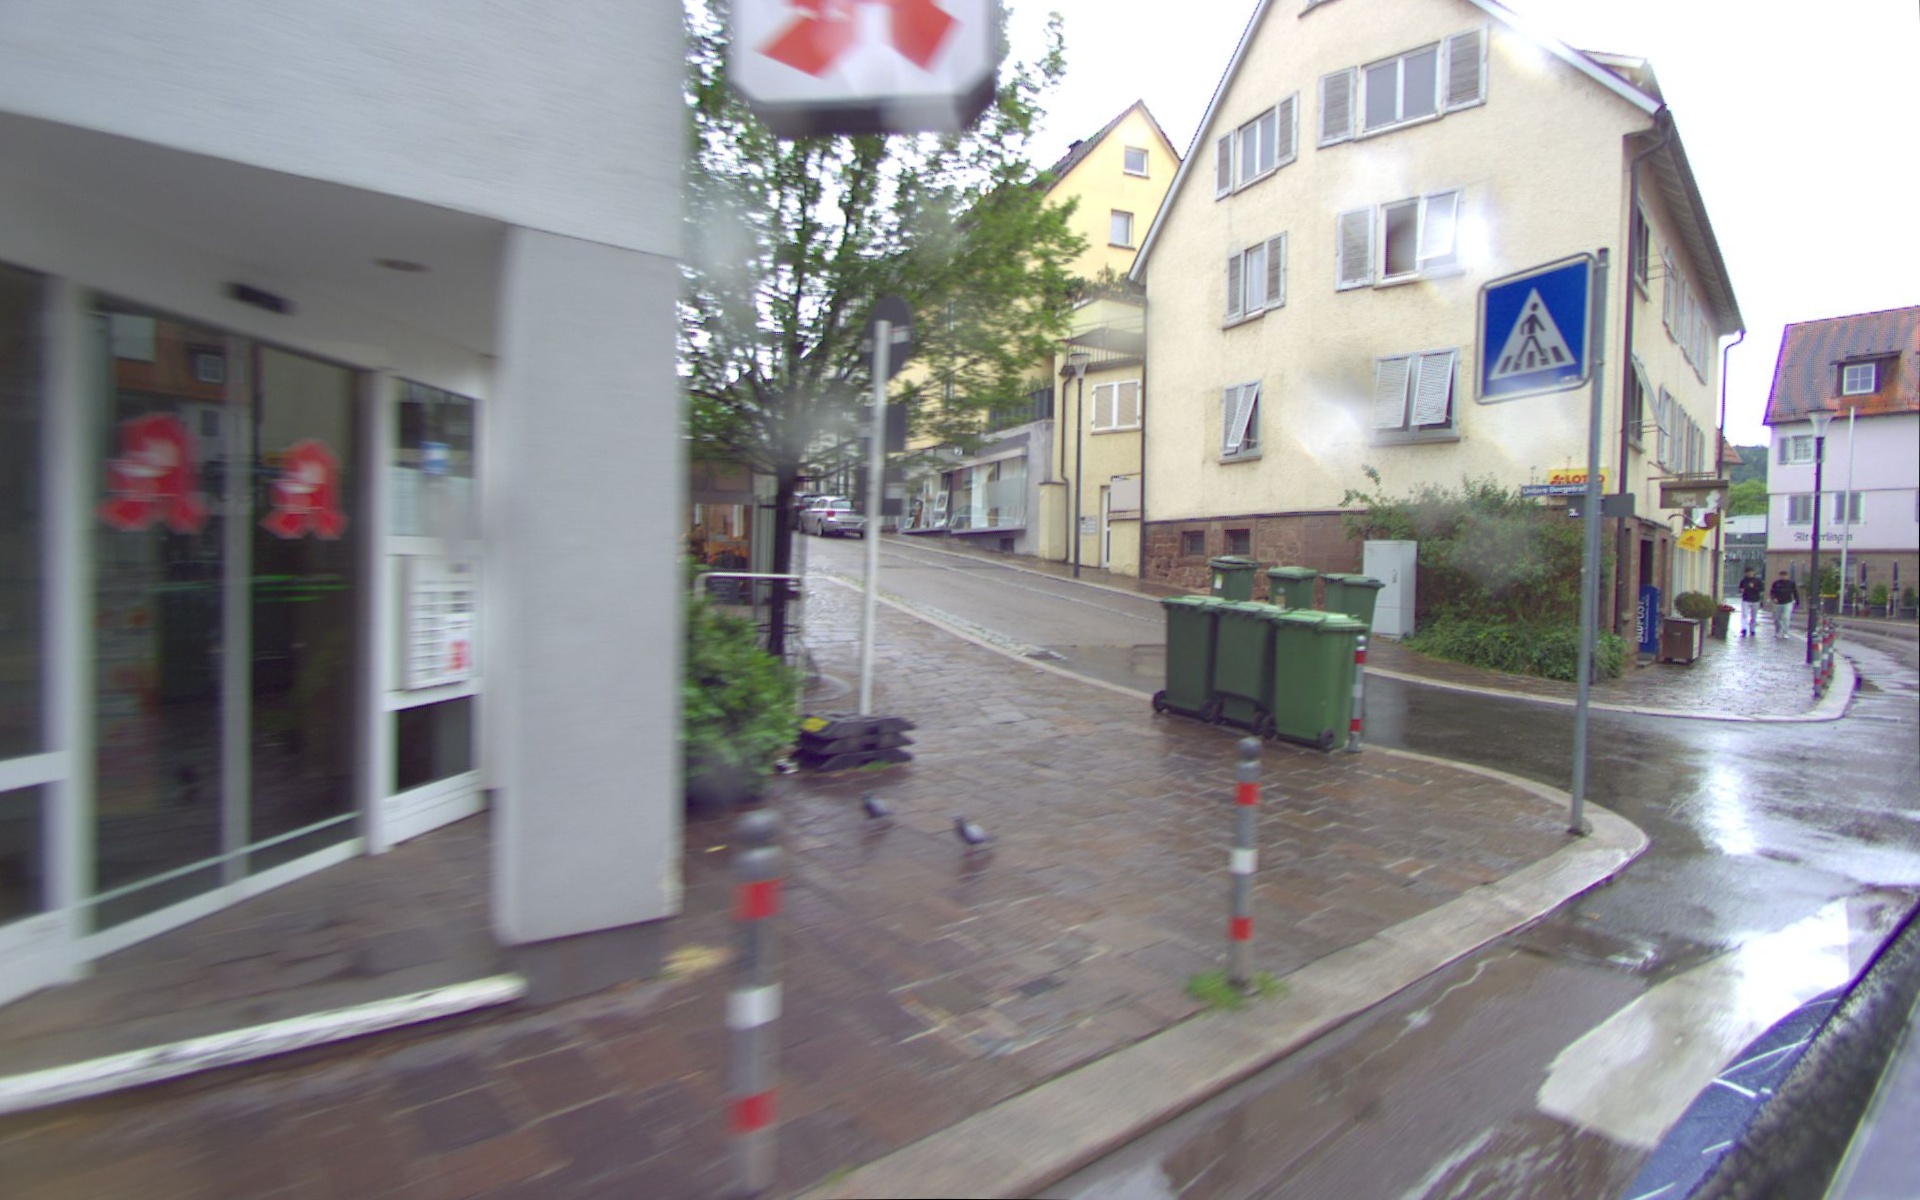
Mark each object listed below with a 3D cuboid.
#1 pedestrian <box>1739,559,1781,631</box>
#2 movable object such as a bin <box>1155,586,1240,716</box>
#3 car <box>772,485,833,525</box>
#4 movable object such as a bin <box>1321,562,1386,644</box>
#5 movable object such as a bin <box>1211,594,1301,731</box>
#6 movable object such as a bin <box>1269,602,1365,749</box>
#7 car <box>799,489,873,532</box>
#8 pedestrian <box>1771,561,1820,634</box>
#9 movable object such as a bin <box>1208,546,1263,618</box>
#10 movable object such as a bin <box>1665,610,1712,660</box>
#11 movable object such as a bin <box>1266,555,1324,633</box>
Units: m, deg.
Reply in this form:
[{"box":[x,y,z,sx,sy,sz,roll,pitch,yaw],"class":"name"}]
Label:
[{"box":[22.173,-0.159,28.069,0.648,1.925,0.654,3,4,23],"class":"pedestrian"},{"box":[2.117,0.437,9.017,0.539,1.069,0.501,-3,5,-41],"class":"movable object such as a bin"},{"box":[-6.365,-3.837,40.591,1.597,1.466,3.479,-1,7,-23],"class":"car"},{"box":[5.316,0.034,13.694,0.612,1.069,0.516,0,4,-11],"class":"movable object such as a bin"},{"box":[2.509,0.506,8.581,0.539,1.069,0.501,-3,5,-41],"class":"movable object such as a bin"},{"box":[2.857,0.582,8.101,0.539,1.069,0.501,-3,5,-41],"class":"movable object such as a bin"},{"box":[-4.440,-3.198,35.886,1.666,1.386,3.624,-1,7,-23],"class":"car"},{"box":[22.778,-0.096,27.610,0.765,1.927,0.799,2,3,23],"class":"pedestrian"},{"box":[4.256,-0.293,15.667,0.612,1.069,0.516,-1,4,-23],"class":"movable object such as a bin"},{"box":[13.548,0.642,18.819,0.546,0.846,0.896,5,4,43],"class":"movable object such as a bin"},{"box":[4.805,-0.100,14.511,0.614,1.069,0.515,-3,5,-39],"class":"movable object such as a bin"}]
